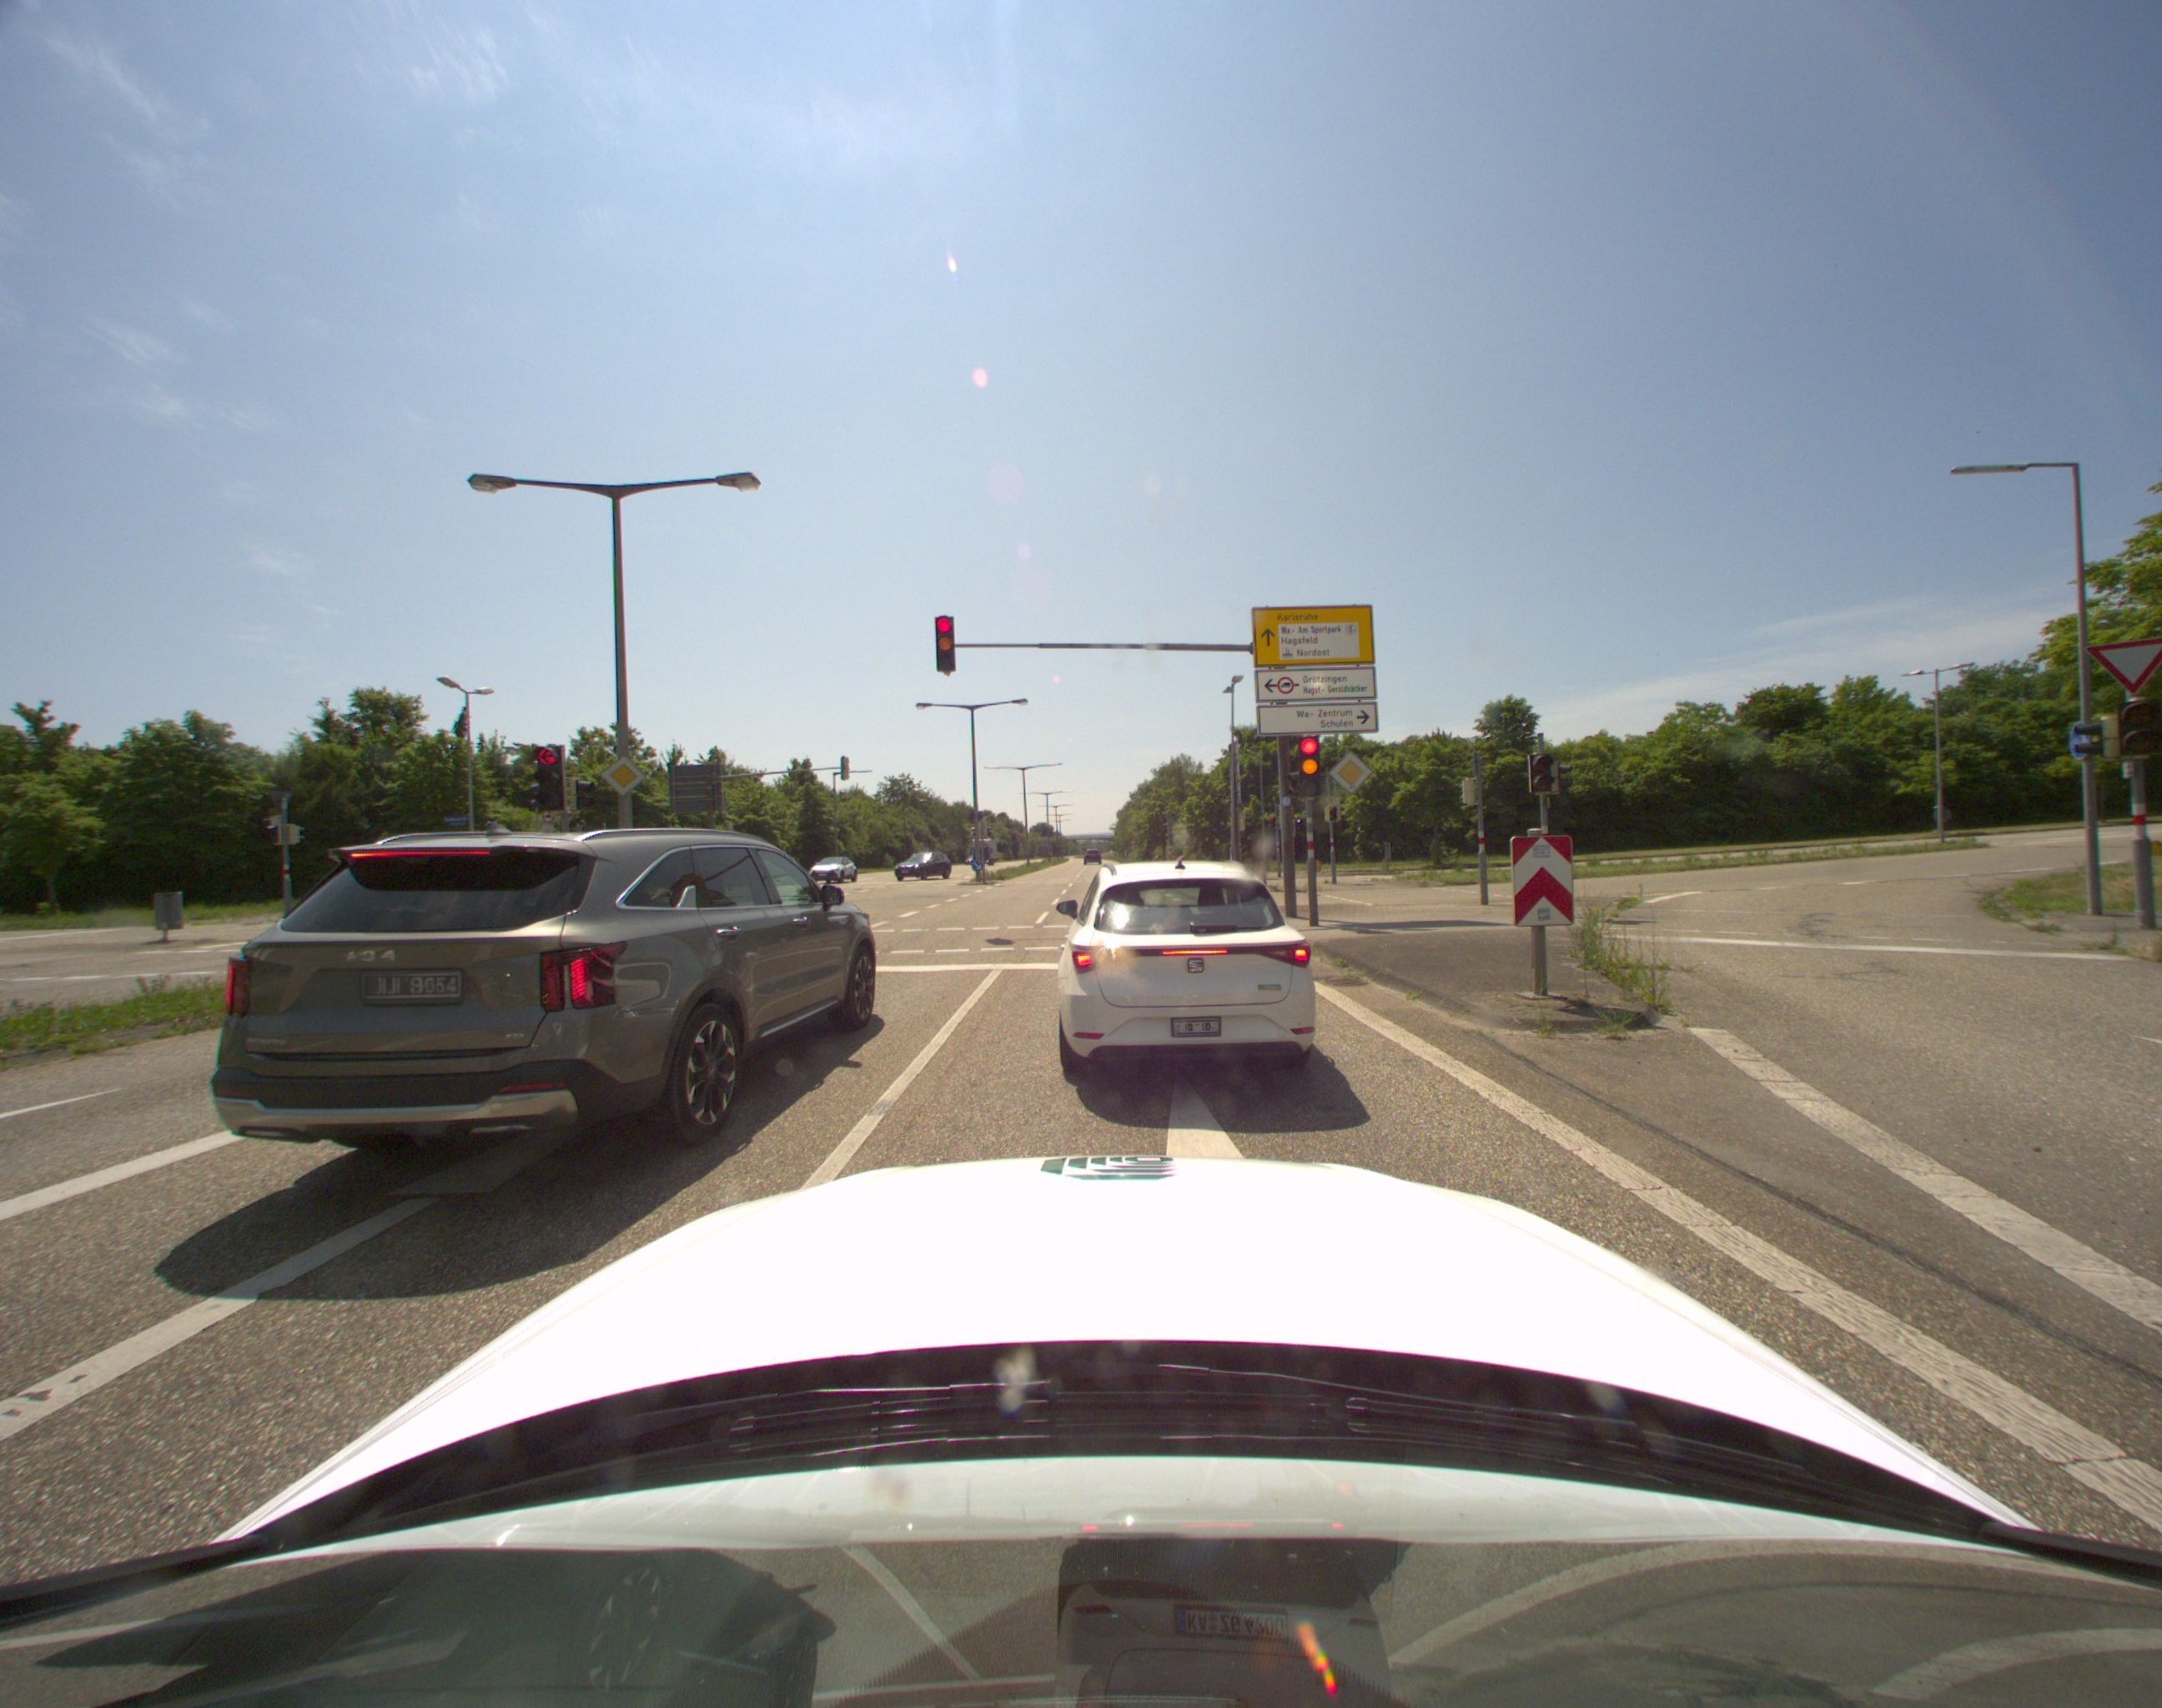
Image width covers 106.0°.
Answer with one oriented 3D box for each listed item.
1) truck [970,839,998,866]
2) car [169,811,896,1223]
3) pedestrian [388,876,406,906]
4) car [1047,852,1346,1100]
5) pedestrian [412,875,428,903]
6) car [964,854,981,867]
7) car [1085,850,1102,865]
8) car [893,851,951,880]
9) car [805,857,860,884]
[{"bbox_3d":[-13.195,-0.236,110.815,2.677,3.570,7.269,-2,0,1],"label":"truck"},{"bbox_3d":[-2.822,0.682,5.718,1.797,1.662,4.646,-2,0,2],"label":"car"},{"bbox_3d":[-37.509,2.005,44.646,0.620,1.603,0.790,-2,0,-34],"label":"pedestrian"},{"bbox_3d":[0.727,0.726,6.588,1.728,1.428,3.696,0,-1,2],"label":"car"},{"bbox_3d":[-36.661,1.956,45.173,0.620,1.503,0.790,-2,0,-34],"label":"pedestrian"},{"bbox_3d":[-16.290,0.970,122.464,1.816,1.732,4.928,-2,0,2],"label":"car"},{"bbox_3d":[1.499,0.355,96.937,1.847,1.709,4.003,-2,0,3],"label":"car"},{"bbox_3d":[-9.812,0.692,50.595,1.693,1.663,4.242,-2,0,17],"label":"car"},{"bbox_3d":[-14.749,0.946,48.487,1.816,1.455,4.170,-2,0,2],"label":"car"}]
